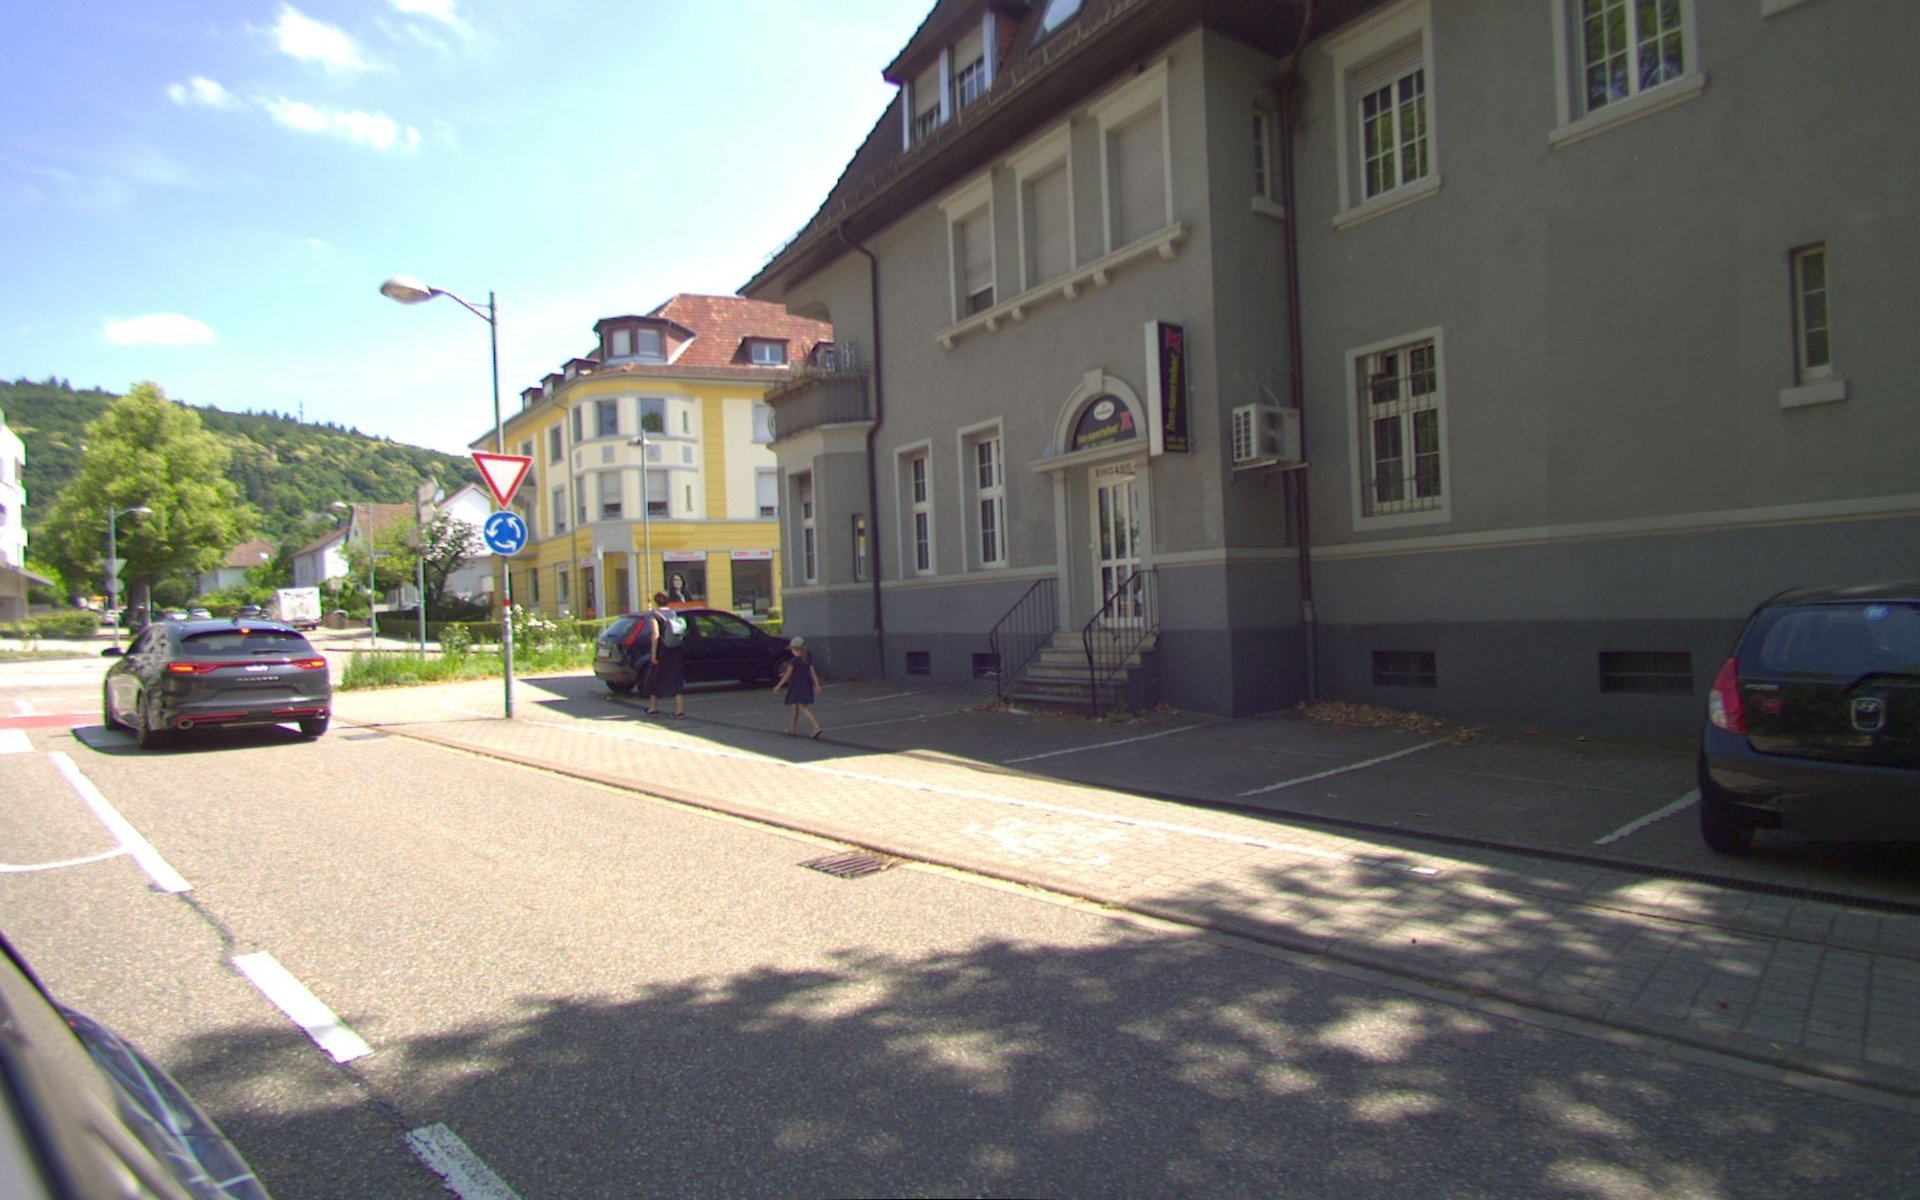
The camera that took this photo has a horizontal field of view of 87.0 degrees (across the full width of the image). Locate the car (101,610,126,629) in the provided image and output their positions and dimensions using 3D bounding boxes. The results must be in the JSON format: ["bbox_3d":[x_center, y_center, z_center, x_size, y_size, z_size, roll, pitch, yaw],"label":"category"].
[{"bbox_3d":[-82.197,1.839,98.331,1.739,1.763,4.008,-2,1,-39],"label":"car"}]

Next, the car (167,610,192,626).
[{"bbox_3d":[-87.465,2.005,113.387,1.969,1.678,4.006,-1,1,-41],"label":"car"}]

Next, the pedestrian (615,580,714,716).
[{"bbox_3d":[-4.034,0.625,13.803,0.861,1.755,1.113,-1,0,-44],"label":"pedestrian"}]

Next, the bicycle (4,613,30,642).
[{"bbox_3d":[-47.134,1.356,50.580,0.560,1.388,1.753,-1,0,-31],"label":"bicycle"}]

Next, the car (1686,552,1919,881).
[{"bbox_3d":[5.779,0.518,5.905,3.339,1.558,1.727,-2,0,-40],"label":"car"}]

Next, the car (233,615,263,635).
[{"bbox_3d":[-58.749,2.050,83.489,1.728,1.516,4.000,-2,0,-39],"label":"car"}]

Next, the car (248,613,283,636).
[{"bbox_3d":[-49.288,1.737,71.754,1.728,1.516,4.000,-2,0,-39],"label":"car"}]

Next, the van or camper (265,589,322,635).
[{"bbox_3d":[-42.598,0.741,64.640,2.239,2.657,5.896,-5,3,-40],"label":"van or camper"}]

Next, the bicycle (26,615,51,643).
[{"bbox_3d":[-46.460,1.439,51.046,0.560,1.388,1.753,-1,0,-31],"label":"bicycle"}]

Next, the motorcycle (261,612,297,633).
[{"bbox_3d":[-46.302,1.507,68.804,0.731,1.329,2.229,-1,0,7],"label":"motorcycle"}]

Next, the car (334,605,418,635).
[{"bbox_3d":[-34.268,1.154,59.458,1.753,1.598,3.943,-1,0,37],"label":"car"}]

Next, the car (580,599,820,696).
[{"bbox_3d":[-4.543,0.763,17.940,3.733,1.471,1.727,-1,0,-40],"label":"car"}]

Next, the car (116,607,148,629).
[{"bbox_3d":[-69.613,1.475,85.044,1.969,1.678,4.006,-1,1,-41],"label":"car"}]

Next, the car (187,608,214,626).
[{"bbox_3d":[-79.122,1.761,105.380,1.969,1.678,4.006,-1,1,-41],"label":"car"}]

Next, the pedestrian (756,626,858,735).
[{"bbox_3d":[-1.735,0.877,11.449,0.745,1.130,0.898,-1,0,-44],"label":"pedestrian"}]

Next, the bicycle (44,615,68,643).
[{"bbox_3d":[-45.899,1.453,51.377,0.560,1.388,1.753,-1,0,-31],"label":"bicycle"}]

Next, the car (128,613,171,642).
[{"bbox_3d":[-45.352,1.506,56.579,1.729,1.516,3.999,-2,0,-40],"label":"car"}]

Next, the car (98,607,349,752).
[{"bbox_3d":[-9.143,0.832,12.409,4.394,1.437,1.749,-1,0,44],"label":"car"}]
